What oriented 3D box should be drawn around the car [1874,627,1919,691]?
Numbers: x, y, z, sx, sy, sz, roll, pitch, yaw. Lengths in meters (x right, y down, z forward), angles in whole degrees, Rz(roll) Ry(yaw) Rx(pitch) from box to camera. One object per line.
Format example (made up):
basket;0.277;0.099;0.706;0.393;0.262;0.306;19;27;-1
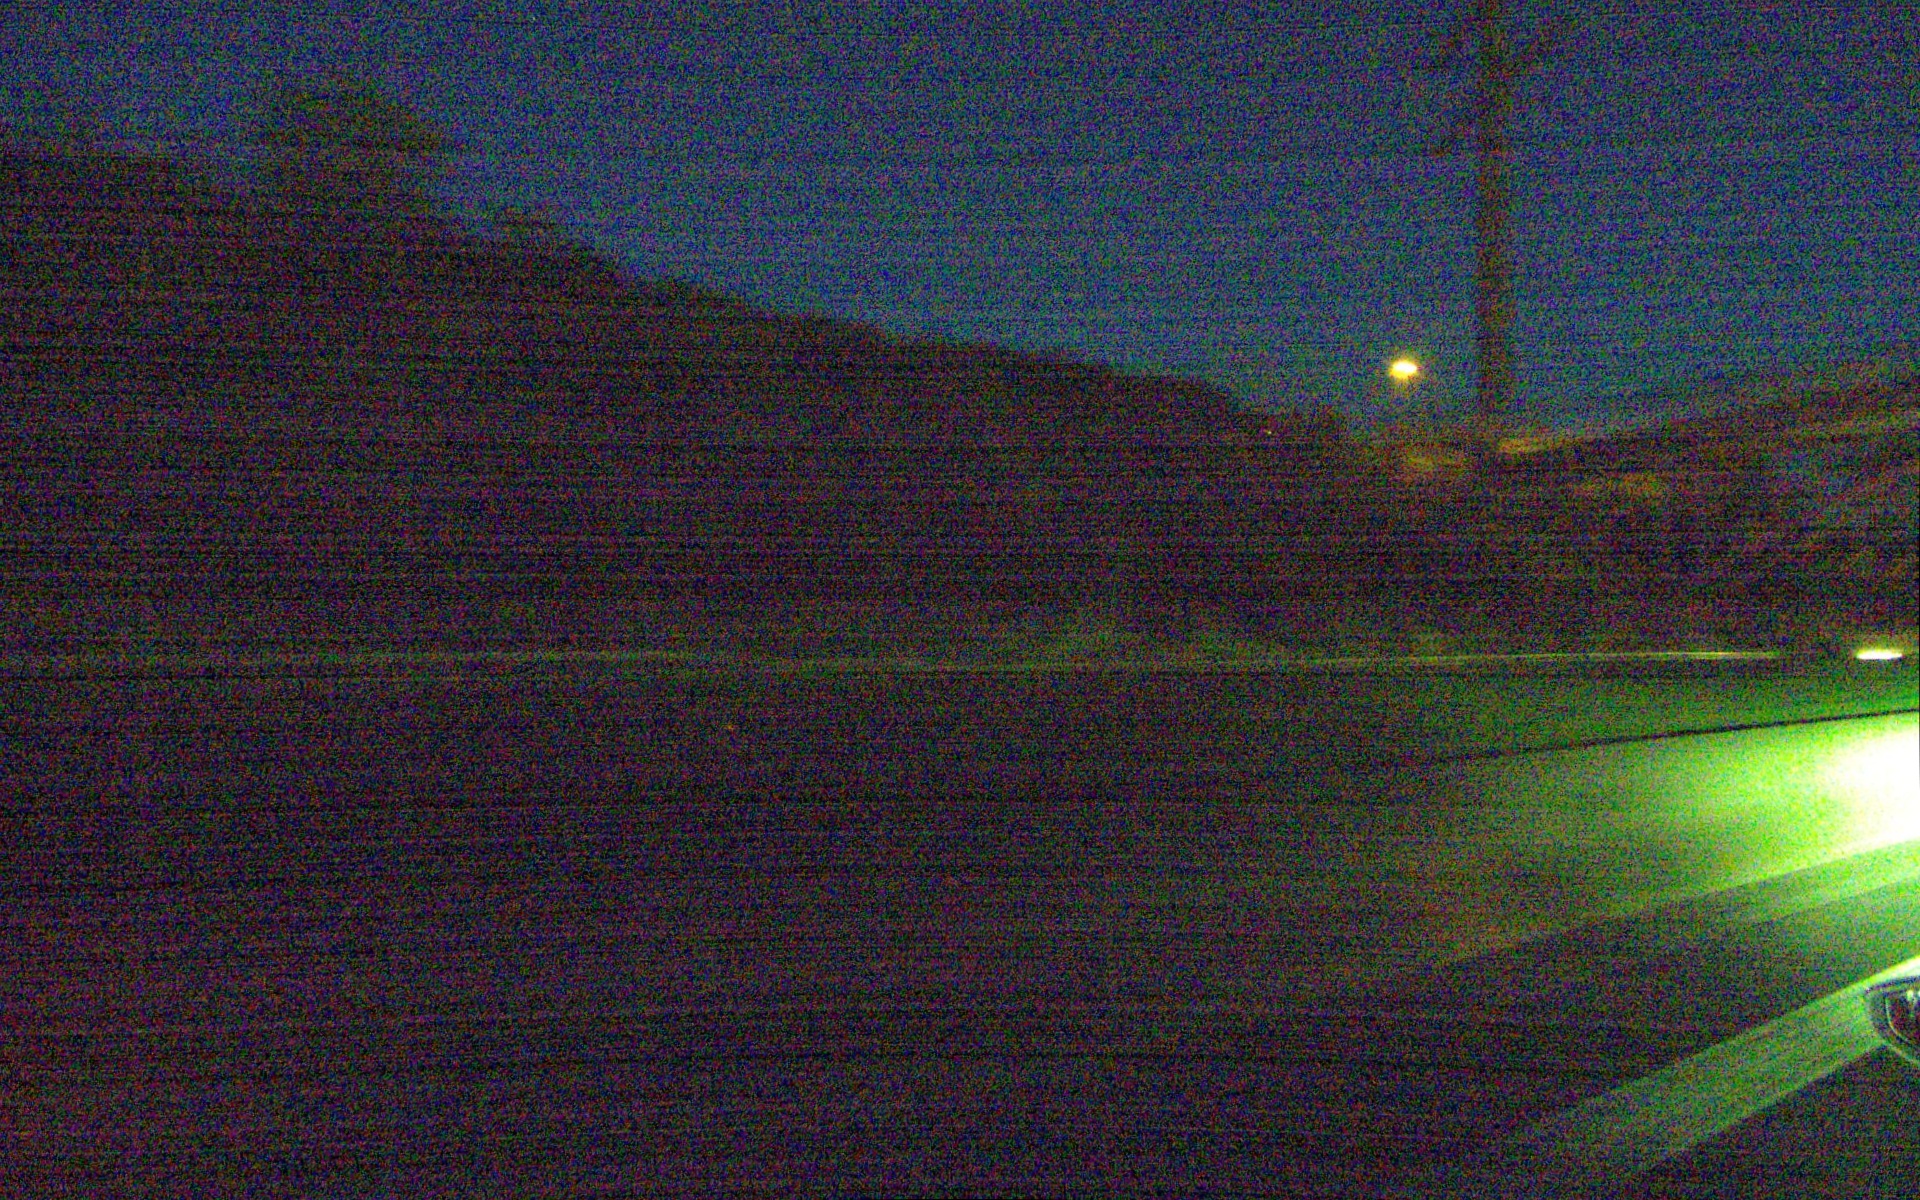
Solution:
car;30.847;1.812;31.619;4.998;1.779;1.679;0;1;-31
